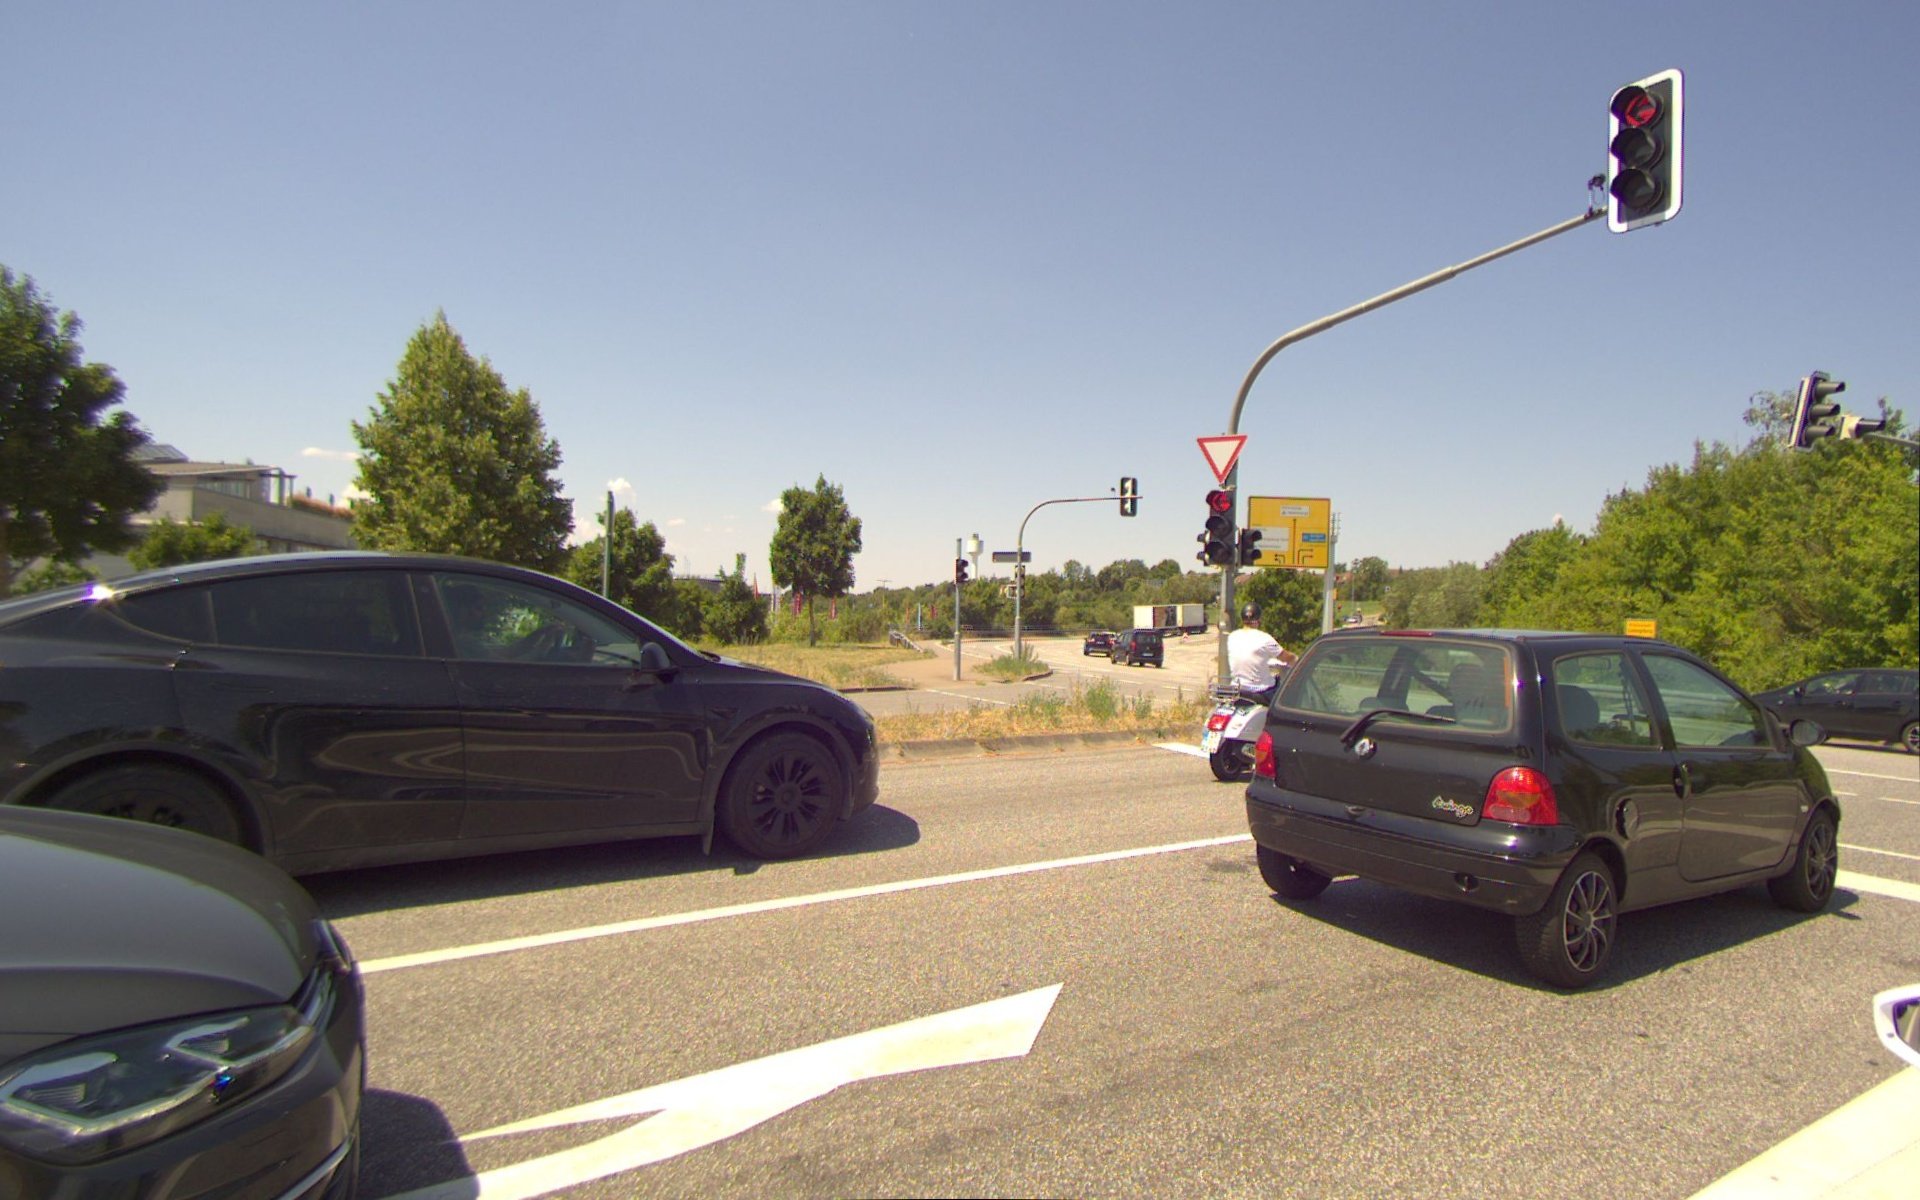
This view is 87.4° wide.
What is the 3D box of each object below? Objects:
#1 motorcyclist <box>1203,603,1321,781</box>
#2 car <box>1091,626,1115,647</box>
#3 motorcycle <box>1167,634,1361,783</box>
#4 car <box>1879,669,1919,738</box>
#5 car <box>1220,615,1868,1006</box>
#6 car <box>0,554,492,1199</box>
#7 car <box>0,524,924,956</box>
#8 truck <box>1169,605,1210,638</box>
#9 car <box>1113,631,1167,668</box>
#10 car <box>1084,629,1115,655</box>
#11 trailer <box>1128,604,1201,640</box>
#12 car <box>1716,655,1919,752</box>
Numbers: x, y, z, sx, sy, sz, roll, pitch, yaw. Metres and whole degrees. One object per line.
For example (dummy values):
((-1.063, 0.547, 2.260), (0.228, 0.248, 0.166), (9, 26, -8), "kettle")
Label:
((2.812, 0.834, 9.354), (0.837, 1.560, 0.608), (3, -1, -32), "motorcyclist")
((12.284, 3.106, 86.288), (1.895, 1.687, 4.002), (1, 0, 10), "car")
((2.862, 0.984, 9.375), (1.920, 1.255, 0.573), (3, -1, -32), "motorcycle")
((22.038, 2.334, 20.623), (1.781, 1.452, 4.402), (5, -2, -13), "car")
((3.127, 0.833, 5.274), (3.264, 1.426, 1.610), (2, -1, -32), "car")
((-3.089, 0.650, 1.216), (4.381, 1.502, 1.768), (1, 0, -33), "car")
((-2.590, 0.568, 5.572), (4.458, 1.622, 1.864), (2, 0, -34), "car")
((31.020, 2.844, 135.782), (3.189, 4.305, 6.215), (1, 0, 36), "truck")
((9.130, 2.489, 51.155), (1.849, 1.755, 3.999), (2, -2, -2), "car")
((9.566, 2.844, 69.121), (1.845, 1.644, 4.002), (1, -1, 4), "car")
((26.605, 2.758, 129.571), (3.189, 4.305, 15.353), (1, 0, 36), "trailer")
((16.468, 1.880, 18.307), (1.785, 1.452, 3.910), (5, -2, -20), "car")
